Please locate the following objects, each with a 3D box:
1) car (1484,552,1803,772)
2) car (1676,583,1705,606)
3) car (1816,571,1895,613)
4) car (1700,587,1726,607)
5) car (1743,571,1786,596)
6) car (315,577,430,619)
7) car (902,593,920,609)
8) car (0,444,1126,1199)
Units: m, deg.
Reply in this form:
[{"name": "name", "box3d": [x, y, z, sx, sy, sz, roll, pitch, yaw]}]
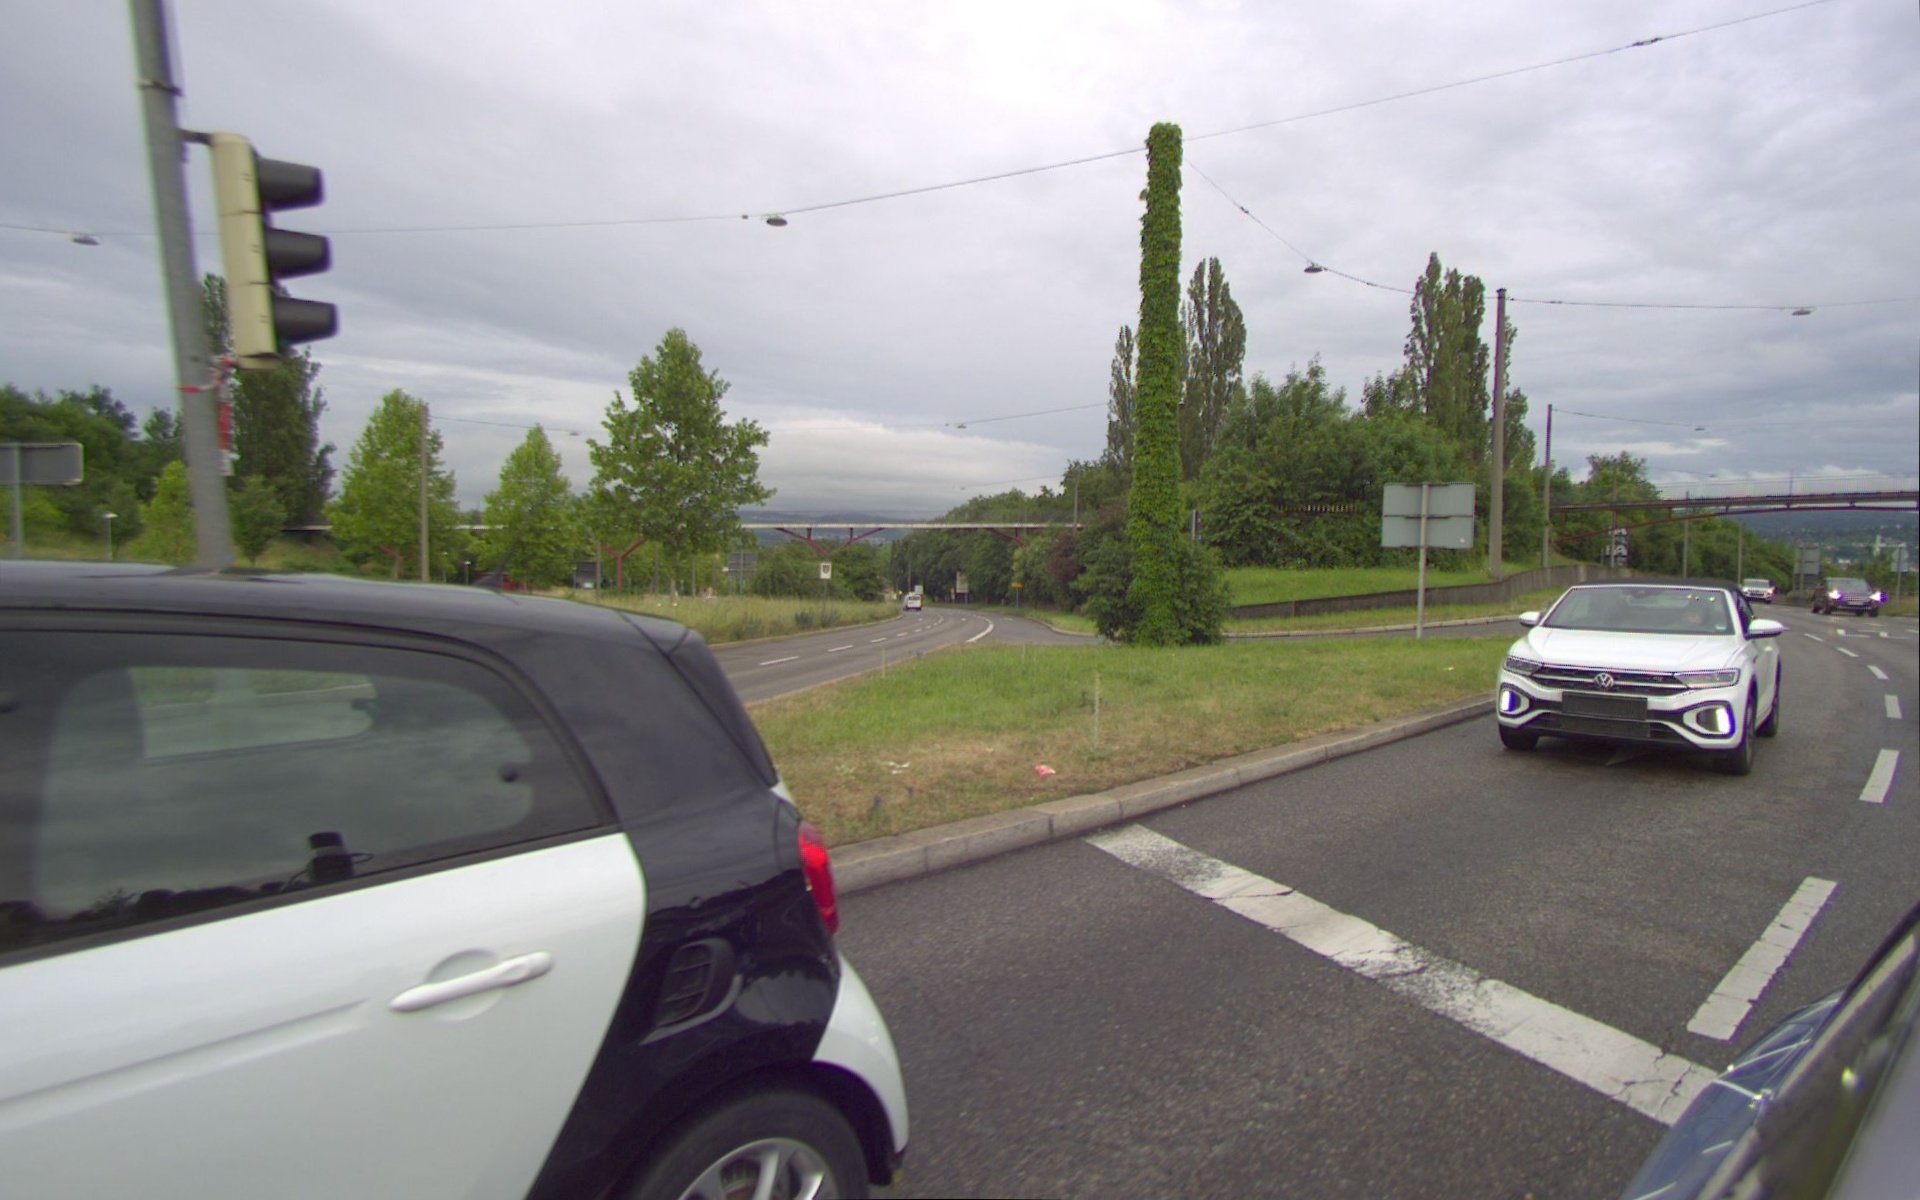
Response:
[{"name": "car", "box3d": [6.349, 0.364, 9.235, 1.838, 1.559, 3.759, 1, 3, 43]}, {"name": "car", "box3d": [68.675, -0.470, 95.160, 1.986, 2.039, 3.952, 2, 0, 33]}, {"name": "car", "box3d": [39.506, -0.357, 44.746, 1.914, 1.757, 3.980, 1, 0, 31]}, {"name": "car", "box3d": [78.698, -0.299, 105.831, 1.987, 2.039, 3.950, 1, 0, 34]}, {"name": "car", "box3d": [58.468, -1.202, 73.631, 1.985, 1.713, 4.239, 1, 0, 32]}, {"name": "car", "box3d": [-22.293, -0.084, 38.590, 1.718, 1.445, 3.992, 2, 0, 7]}, {"name": "car", "box3d": [-5.785, 0.143, 118.995, 1.855, 1.861, 3.845, 0, 0, -7]}, {"name": "car", "box3d": [-1.702, 0.607, 1.698, 4.154, 1.542, 1.723, 2, -2, -42]}]
